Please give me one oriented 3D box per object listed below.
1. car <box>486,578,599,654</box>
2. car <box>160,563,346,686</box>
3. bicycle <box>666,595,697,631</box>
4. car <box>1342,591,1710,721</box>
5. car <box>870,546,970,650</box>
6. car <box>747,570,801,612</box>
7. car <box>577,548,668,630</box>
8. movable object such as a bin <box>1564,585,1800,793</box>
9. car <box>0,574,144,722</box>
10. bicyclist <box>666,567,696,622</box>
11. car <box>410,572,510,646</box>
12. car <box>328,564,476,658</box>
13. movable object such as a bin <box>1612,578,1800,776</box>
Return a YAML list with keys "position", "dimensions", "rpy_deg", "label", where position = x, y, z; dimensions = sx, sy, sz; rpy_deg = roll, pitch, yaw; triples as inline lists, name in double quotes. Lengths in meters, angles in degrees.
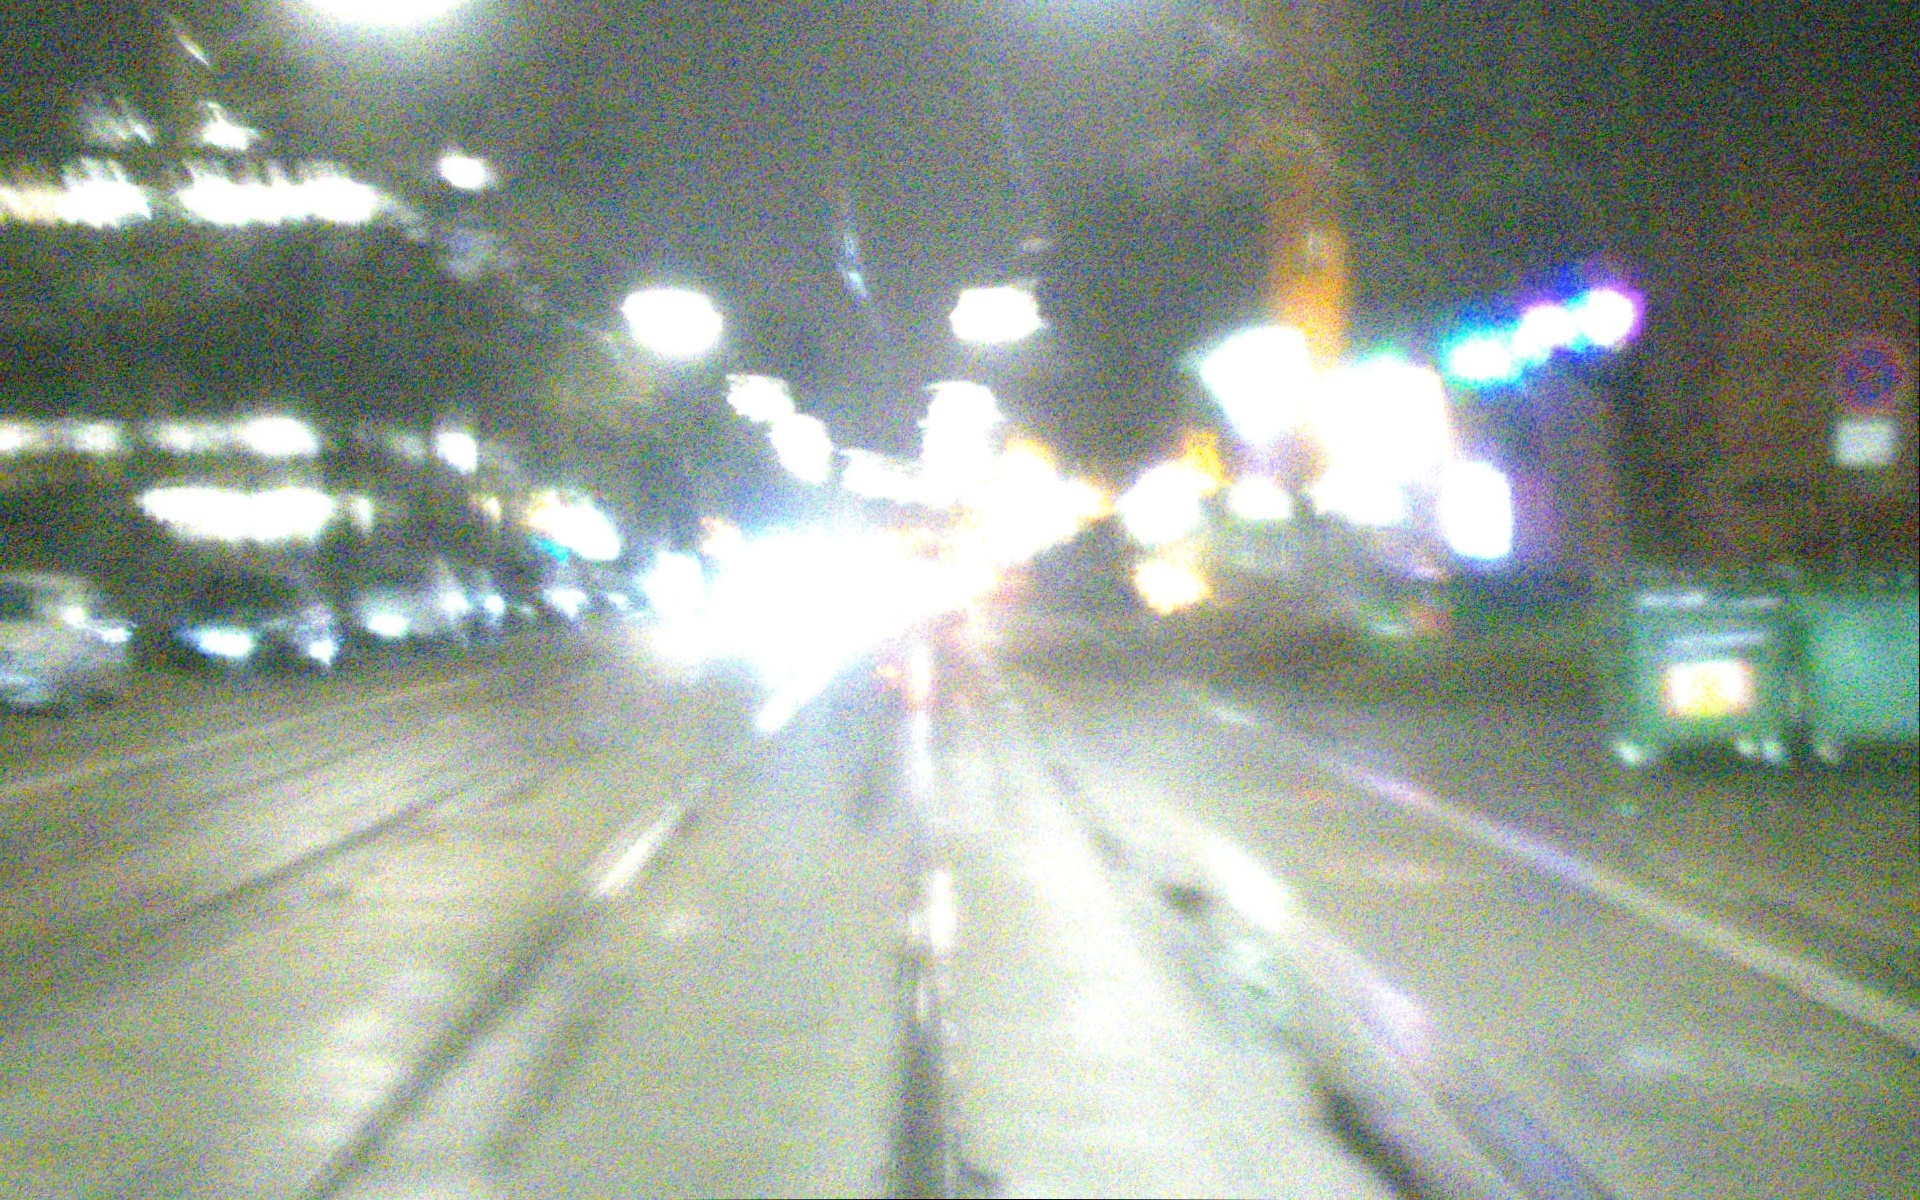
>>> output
- position: [-9.751, 0.359, 80.550]
  dimensions: [1.969, 1.650, 4.601]
  rpy_deg: [2, 0, 1]
  label: "car"
- position: [-9.888, 0.321, 48.381]
  dimensions: [1.880, 1.540, 4.400]
  rpy_deg: [4, 0, -3]
  label: "car"
- position: [-8.519, 0.388, 105.329]
  dimensions: [0.782, 1.078, 1.918]
  rpy_deg: [-2, 0, 0]
  label: "bicycle"
- position: [7.003, 0.674, 42.530]
  dimensions: [4.092, 1.532, 1.961]
  rpy_deg: [0, 0, -26]
  label: "car"
- position: [-0.974, -0.052, 81.180]
  dimensions: [2.244, 2.353, 4.394]
  rpy_deg: [1, 0, -2]
  label: "car"
- position: [-6.818, -0.343, 126.079]
  dimensions: [1.776, 1.512, 4.051]
  rpy_deg: [1, 1, 0]
  label: "car"
- position: [-10.959, -0.395, 112.050]
  dimensions: [2.185, 2.583, 6.391]
  rpy_deg: [1, 1, 2]
  label: "car"
- position: [5.108, 0.617, 24.404]
  dimensions: [1.321, 1.403, 1.160]
  rpy_deg: [-1, 0, -6]
  label: "movable object such as a bin"
- position: [-9.959, 0.463, 36.364]
  dimensions: [1.887, 1.458, 4.961]
  rpy_deg: [0, 0, -5]
  label: "car"
- position: [-8.536, -0.156, 105.343]
  dimensions: [0.782, 1.650, 1.206]
  rpy_deg: [-2, 0, 0]
  label: "bicyclist"
- position: [-10.088, 0.166, 69.597]
  dimensions: [1.690, 1.417, 3.915]
  rpy_deg: [0, 1, -4]
  label: "car"
- position: [-10.055, 0.187, 62.244]
  dimensions: [1.983, 1.625, 4.517]
  rpy_deg: [1, 0, -1]
  label: "car"
- position: [5.544, 0.563, 25.625]
  dimensions: [1.208, 1.417, 1.100]
  rpy_deg: [-1, 0, 5]
  label: "movable object such as a bin"
